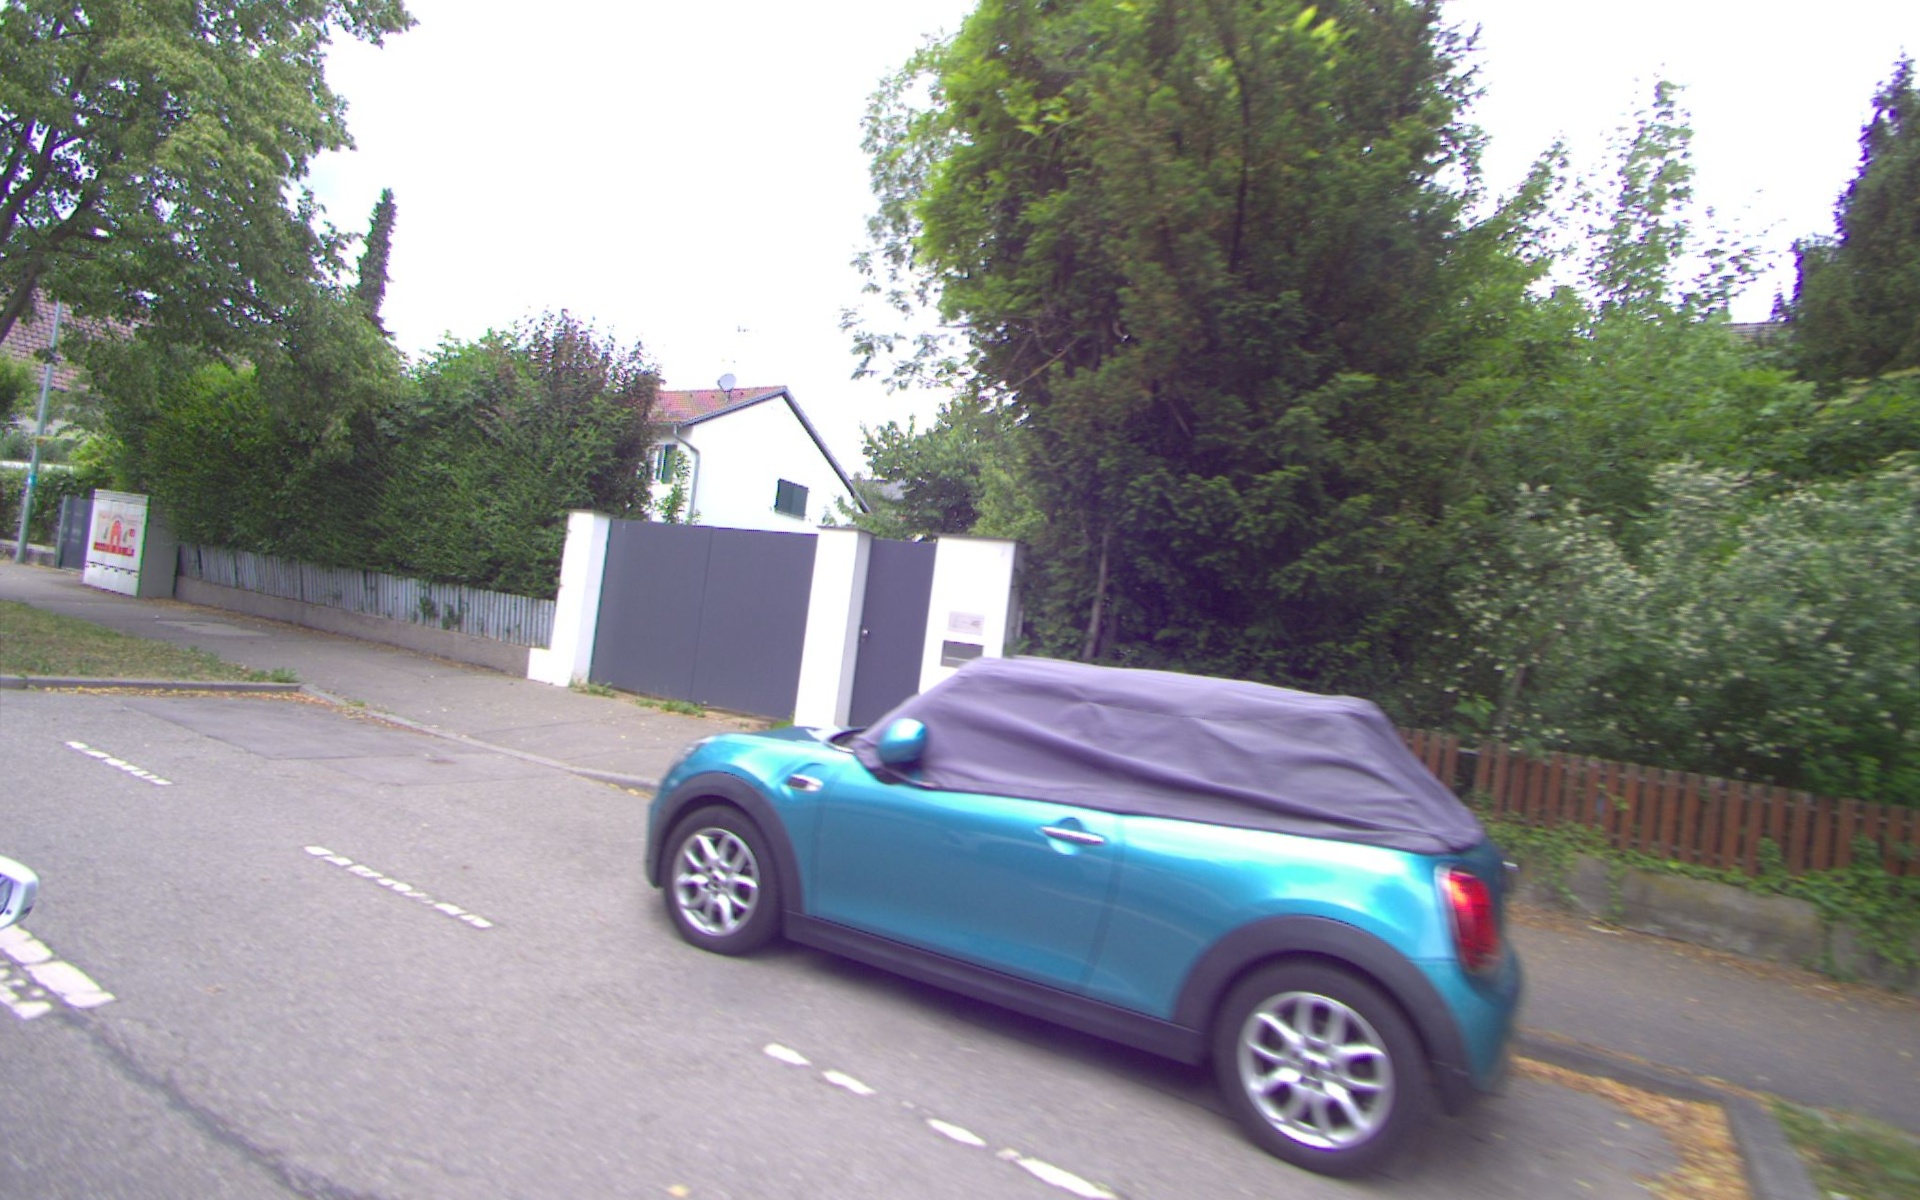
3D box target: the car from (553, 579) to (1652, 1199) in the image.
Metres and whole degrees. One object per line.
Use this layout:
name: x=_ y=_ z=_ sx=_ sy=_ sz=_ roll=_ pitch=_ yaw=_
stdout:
car: x=0.376 y=0.914 z=4.314 sx=3.975 sy=1.448 sz=1.687 roll=7 pitch=-2 yaw=29
